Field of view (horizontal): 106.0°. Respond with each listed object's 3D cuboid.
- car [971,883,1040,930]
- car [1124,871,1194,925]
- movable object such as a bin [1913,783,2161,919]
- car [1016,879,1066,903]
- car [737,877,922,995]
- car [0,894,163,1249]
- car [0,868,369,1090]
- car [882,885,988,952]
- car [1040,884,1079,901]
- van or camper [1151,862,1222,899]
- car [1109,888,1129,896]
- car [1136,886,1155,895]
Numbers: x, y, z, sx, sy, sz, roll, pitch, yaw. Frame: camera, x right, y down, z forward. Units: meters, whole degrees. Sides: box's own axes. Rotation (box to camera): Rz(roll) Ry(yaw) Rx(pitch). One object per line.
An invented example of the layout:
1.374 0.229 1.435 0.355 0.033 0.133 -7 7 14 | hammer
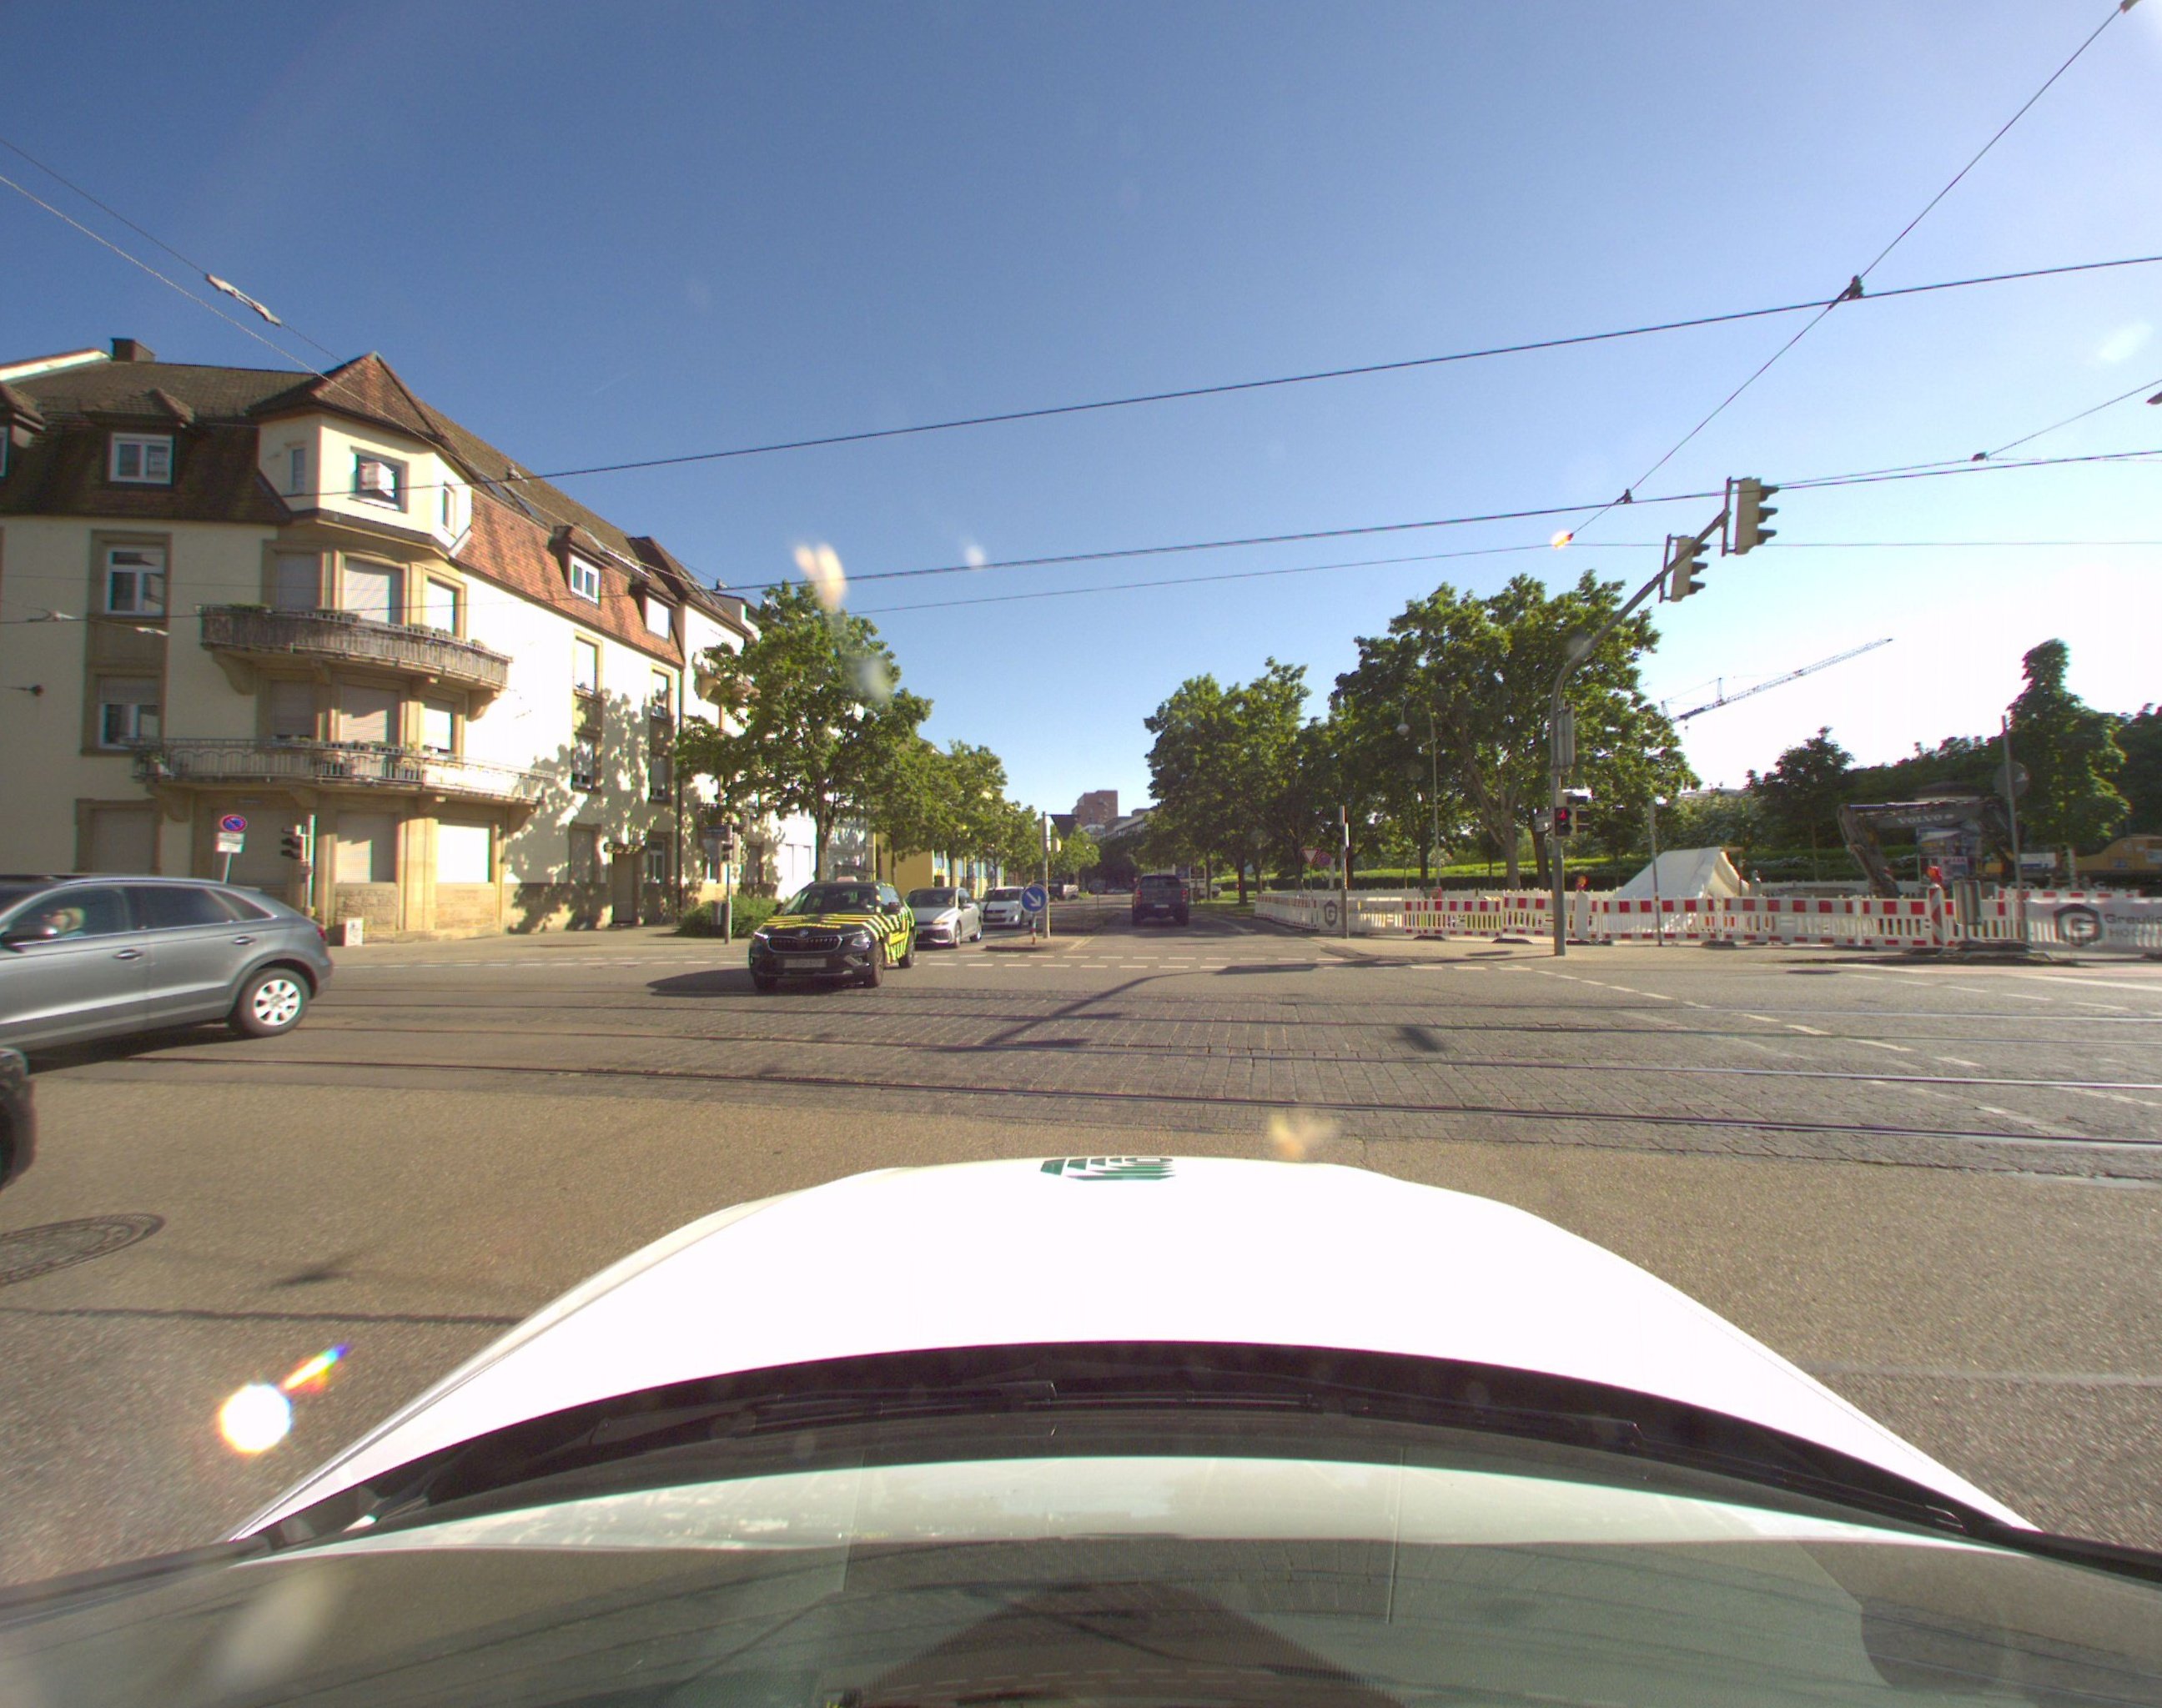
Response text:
-2.668 1.858 29.569 1.696 1.513 3.868 -3 -2 6 | car
2.814 1.590 30.390 2.126 1.836 4.939 -1 -2 0 | car
25.869 -0.010 21.508 4.675 3.364 2.837 0 -3 3 | movable object such as a bin
-4.527 4.152 91.656 5.280 2.546 1.971 -1 -3 -21 | car
-3.715 1.153 12.804 1.784 1.514 4.111 -1 -2 -3 | car
-4.916 0.887 1.906 1.807 1.451 4.296 -2 -1 -20 | car
-8.781 0.952 6.842 1.878 1.610 4.148 -1 -2 1 | car
-3.488 1.506 20.125 1.700 1.452 3.853 -1 -2 3 | car
-2.884 5.164 109.589 4.915 2.083 1.966 0 -3 -30 | car
9.438 2.423 73.563 6.053 2.929 2.577 -3 -3 3 | van or camper
8.005 7.925 171.148 3.940 1.397 1.513 -3 -2 -5 | car
11.208 6.325 140.869 3.230 1.277 1.517 -4 -2 3 | car
